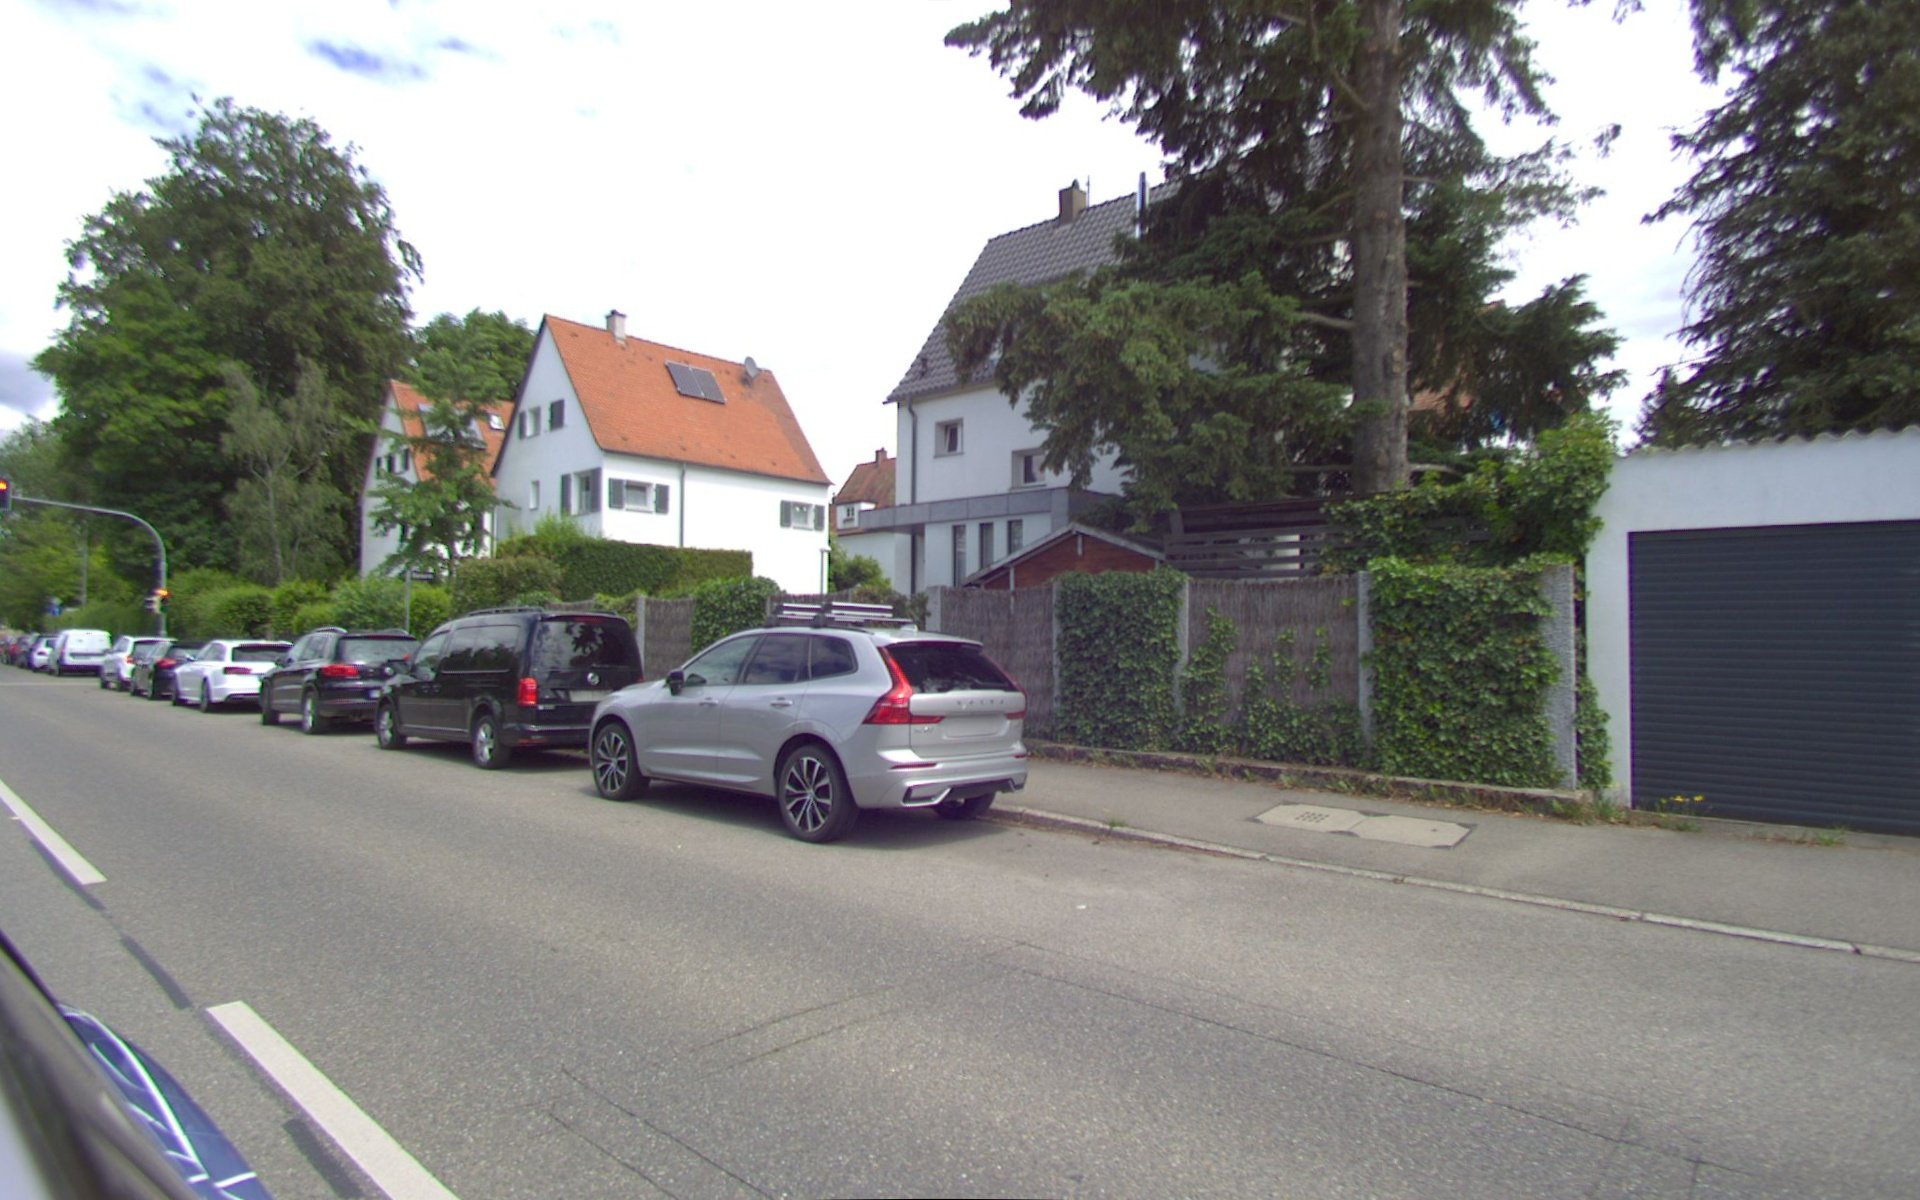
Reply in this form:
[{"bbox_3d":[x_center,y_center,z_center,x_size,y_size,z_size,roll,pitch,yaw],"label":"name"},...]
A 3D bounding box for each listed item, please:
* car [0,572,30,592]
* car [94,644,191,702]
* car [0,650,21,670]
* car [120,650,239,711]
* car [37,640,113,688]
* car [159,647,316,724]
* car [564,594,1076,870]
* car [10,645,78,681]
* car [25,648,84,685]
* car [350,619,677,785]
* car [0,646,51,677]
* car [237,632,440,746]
[{"bbox_3d":[-82.180,-1.543,88.036,1.652,1.381,3.611,4,-5,-41],"label":"car"},{"bbox_3d":[-23.661,2.083,29.249,3.744,1.555,1.683,-3,-5,44],"label":"car"},{"bbox_3d":[-69.609,4.328,73.424,4.067,1.413,1.944,-3,-4,45],"label":"car"},{"bbox_3d":[-19.720,1.986,25.508,4.324,1.421,1.723,-3,-5,44],"label":"car"},{"bbox_3d":[-34.746,2.507,39.702,4.607,1.772,1.658,-3,-5,42],"label":"car"},{"bbox_3d":[-15.565,1.771,21.696,5.069,1.470,1.785,-3,-5,44],"label":"car"},{"bbox_3d":[-1.464,0.990,9.059,4.706,1.833,1.964,-3,-4,42],"label":"car"},{"bbox_3d":[-42.768,2.916,47.221,4.642,1.606,1.876,-3,-4,42],"label":"car"},{"bbox_3d":[-38.671,2.831,43.196,1.684,1.464,4.361,6,-6,-43],"label":"car"},{"bbox_3d":[-5.994,1.178,13.278,4.881,1.768,2.045,-2,-2,41],"label":"car"},{"bbox_3d":[-50.475,3.280,54.483,4.414,1.623,1.771,-3,-4,41],"label":"car"},{"bbox_3d":[-10.615,1.452,17.142,4.582,1.691,1.609,-3,-6,42],"label":"car"}]
